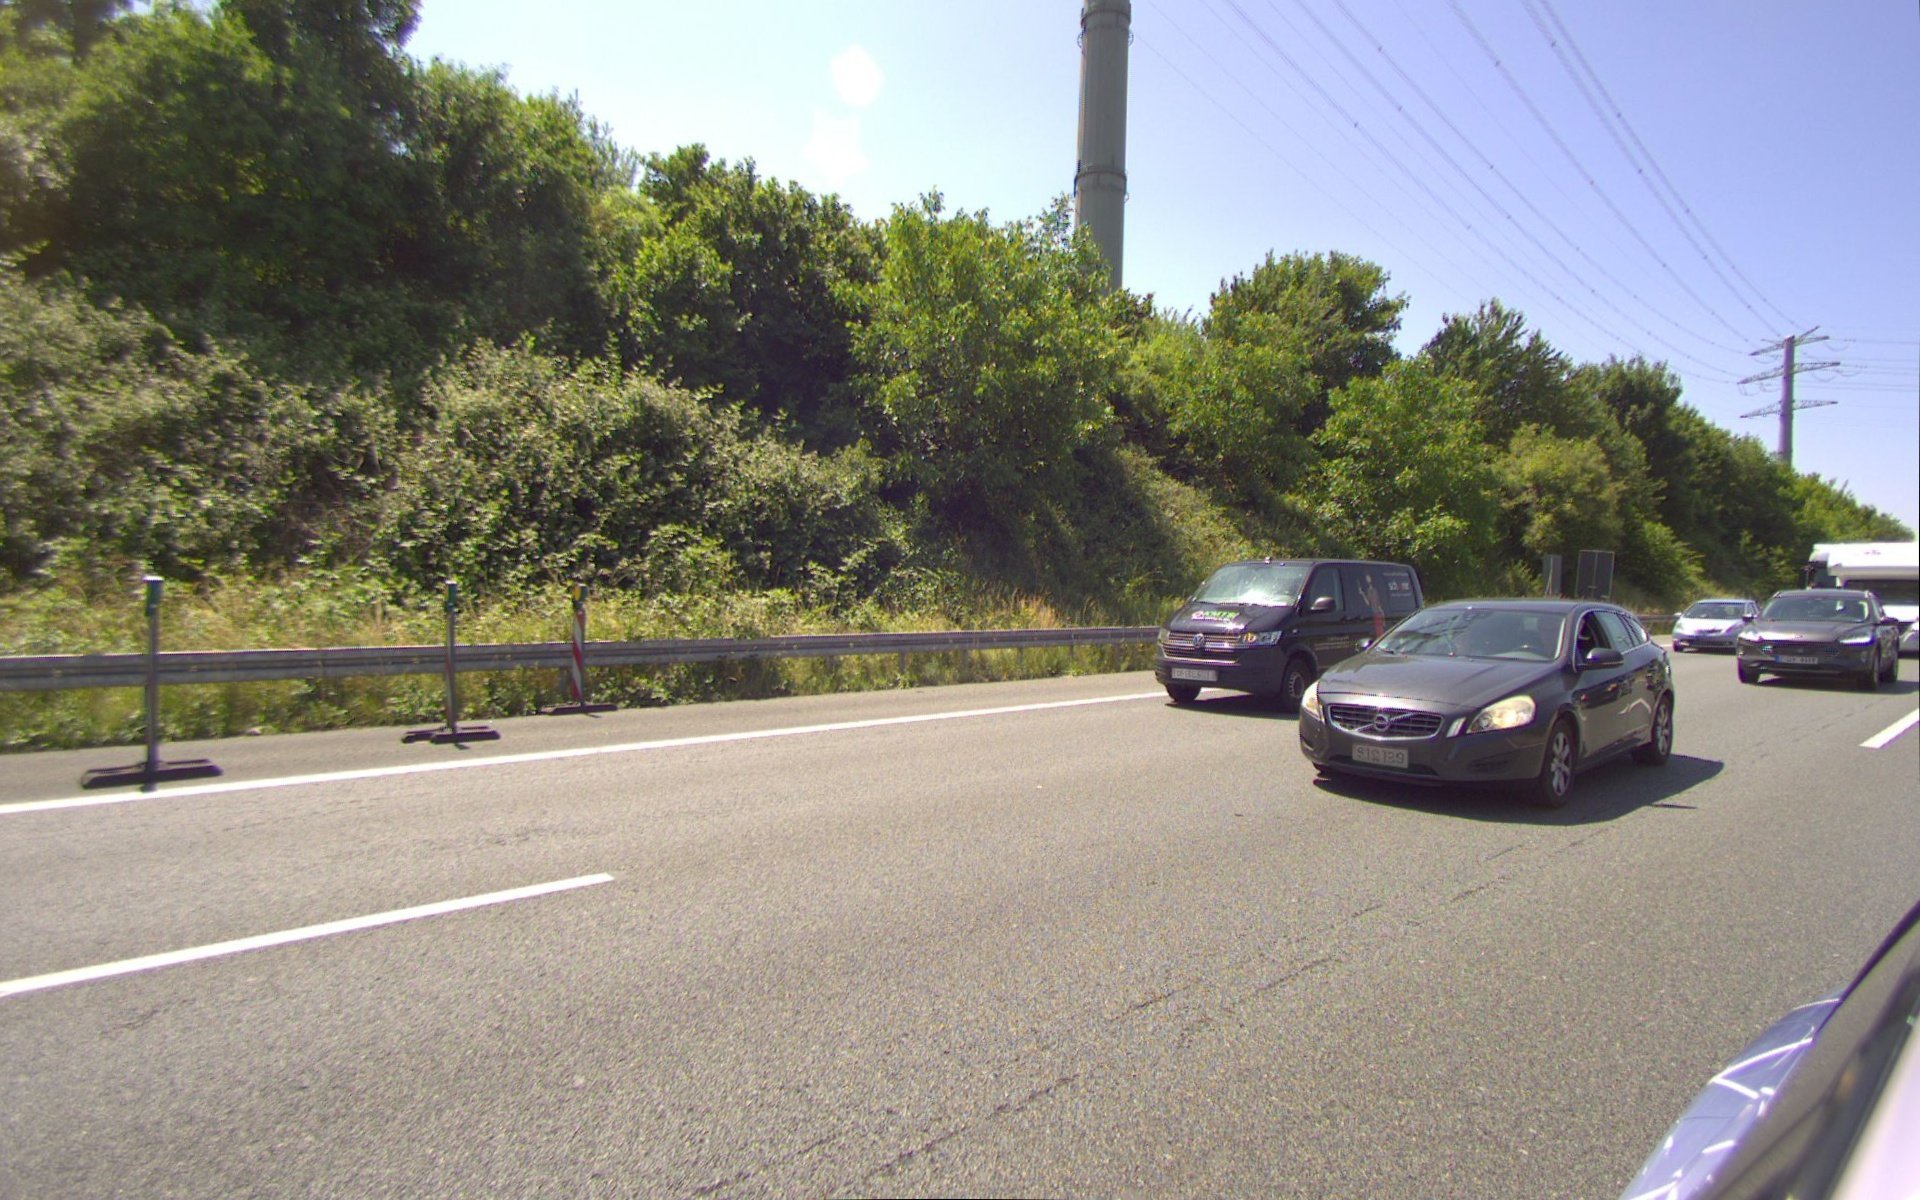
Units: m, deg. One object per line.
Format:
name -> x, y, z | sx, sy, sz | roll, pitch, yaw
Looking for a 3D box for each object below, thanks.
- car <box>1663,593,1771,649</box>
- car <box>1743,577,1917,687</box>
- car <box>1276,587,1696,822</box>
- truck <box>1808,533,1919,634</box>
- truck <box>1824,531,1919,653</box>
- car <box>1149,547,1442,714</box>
car -> 21.095, 0.535, 28.163 | 3.668, 1.455, 1.798 | 0, 0, -43
car -> 15.505, 0.477, 17.952 | 4.309, 1.724, 1.889 | 0, 0, -43
car -> 4.489, 0.626, 8.339 | 4.159, 1.455, 1.798 | 0, 0, -43
truck -> 42.184, -0.741, 46.960 | 11.459, 4.204, 2.653 | 0, 0, -41
truck -> 27.359, -0.239, 28.988 | 9.723, 3.053, 2.512 | 0, 0, -41
car -> 4.728, 0.332, 13.881 | 4.618, 1.928, 1.786 | 0, 0, -42
